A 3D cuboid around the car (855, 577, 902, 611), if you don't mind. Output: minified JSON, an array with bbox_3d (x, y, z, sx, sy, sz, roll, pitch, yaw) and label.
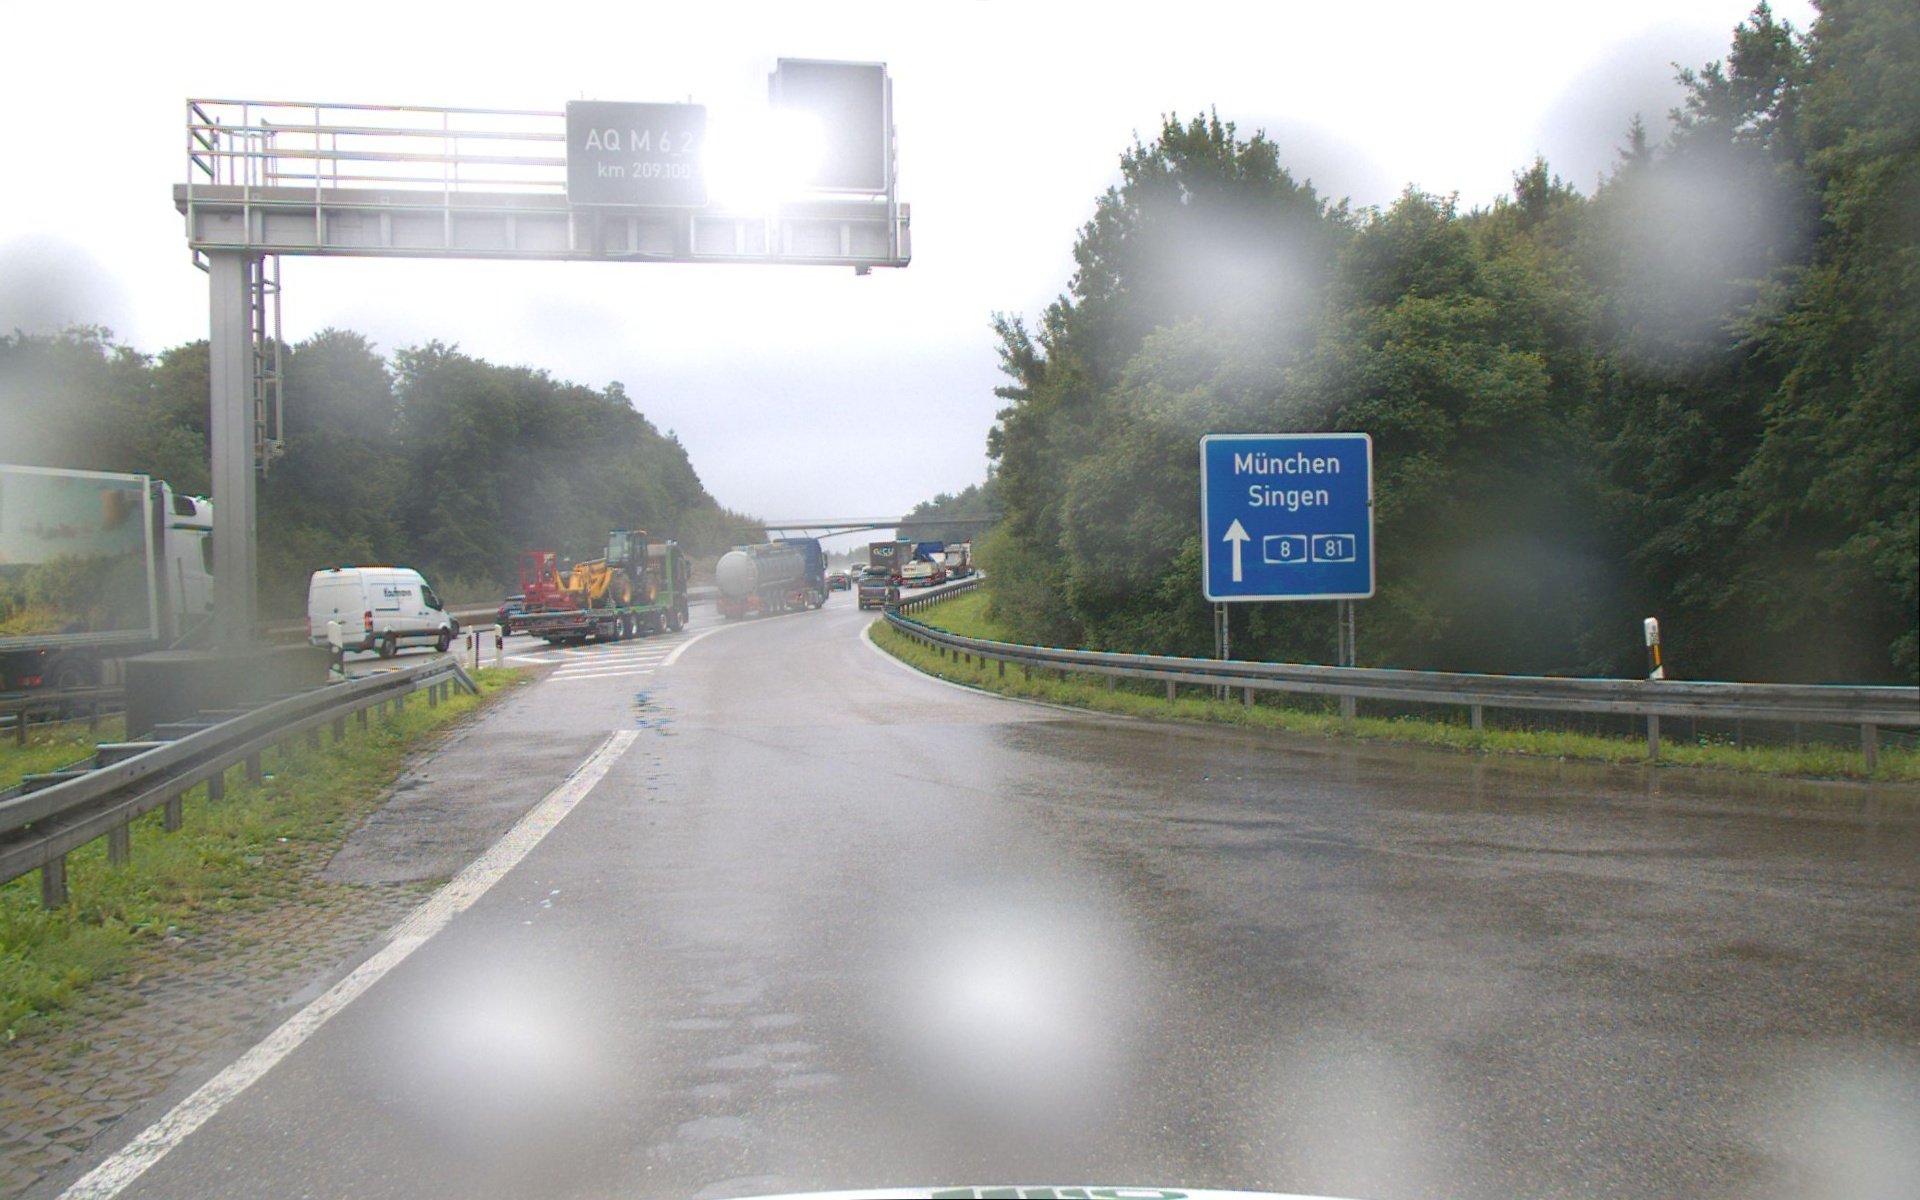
[{"bbox_3d":[-4.170,-0.289,85.182,1.952,1.665,4.002,1,0,4],"label":"car"}]

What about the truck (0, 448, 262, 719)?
[{"bbox_3d":[-15.599,-0.237,29.069,2.856,4.170,6.725,-3,0,9],"label":"truck"}]

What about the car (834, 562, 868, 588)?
[{"bbox_3d":[-13.095,-2.966,199.353,3.178,3.055,6.777,1,0,4],"label":"car"}]

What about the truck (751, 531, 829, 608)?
[{"bbox_3d":[-8.859,-1.636,86.567,2.816,3.757,5.061,-3,1,7],"label":"truck"}]

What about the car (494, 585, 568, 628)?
[{"bbox_3d":[-18.091,0.263,69.926,1.748,1.757,4.002,1,0,5],"label":"car"}]

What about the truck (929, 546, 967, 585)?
[{"bbox_3d":[-1.239,-3.700,182.269,3.677,4.040,11.062,1,0,2],"label":"truck"}]

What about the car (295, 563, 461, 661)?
[{"bbox_3d":[-17.336,0.277,49.682,2.168,2.675,5.849,-3,1,8],"label":"car"}]

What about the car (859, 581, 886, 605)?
[{"bbox_3d":[-7.097,-0.572,134.798,1.760,1.937,4.002,0,0,3],"label":"car"}]

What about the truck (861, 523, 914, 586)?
[{"bbox_3d":[-6.773,-4.159,155.461,3.675,5.595,10.178,1,0,5],"label":"truck"}]

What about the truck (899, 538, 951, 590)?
[{"bbox_3d":[-2.967,-3.182,143.643,3.525,4.176,11.566,-3,1,3],"label":"truck"}]

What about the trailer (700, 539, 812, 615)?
[{"bbox_3d":[-9.690,-1.198,79.847,2.812,3.345,10.087,-3,2,7],"label":"trailer"}]

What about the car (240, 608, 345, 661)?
[{"bbox_3d":[-24.583,1.235,61.056,1.738,1.735,4.004,-3,1,8],"label":"car"}]

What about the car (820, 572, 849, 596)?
[{"bbox_3d":[-10.737,-1.387,141.698,1.760,1.937,4.002,-3,0,4],"label":"car"}]

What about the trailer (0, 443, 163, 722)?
[{"bbox_3d":[-16.580,-0.169,22.583,2.856,4.278,13.648,-3,0,9],"label":"trailer"}]

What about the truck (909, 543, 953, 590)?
[{"bbox_3d":[-2.747,-3.141,159.597,3.433,4.342,10.608,0,0,3],"label":"truck"}]

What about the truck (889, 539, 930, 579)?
[{"bbox_3d":[-5.732,-4.635,190.199,3.501,4.167,10.885,-2,0,4],"label":"truck"}]

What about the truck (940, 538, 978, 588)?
[{"bbox_3d":[-0.069,-4.498,205.204,4.246,5.864,9.733,1,0,2],"label":"truck"}]

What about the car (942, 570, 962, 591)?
[{"bbox_3d":[-0.790,-1.979,168.559,1.760,1.937,4.002,-3,0,3],"label":"car"}]

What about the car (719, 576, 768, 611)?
[{"bbox_3d":[-11.756,-0.372,89.977,1.781,1.797,4.003,-2,1,5],"label":"car"}]

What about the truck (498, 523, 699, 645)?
[{"bbox_3d":[-12.172,-0.635,57.251,2.771,3.650,11.808,-3,1,7],"label":"truck"}]
